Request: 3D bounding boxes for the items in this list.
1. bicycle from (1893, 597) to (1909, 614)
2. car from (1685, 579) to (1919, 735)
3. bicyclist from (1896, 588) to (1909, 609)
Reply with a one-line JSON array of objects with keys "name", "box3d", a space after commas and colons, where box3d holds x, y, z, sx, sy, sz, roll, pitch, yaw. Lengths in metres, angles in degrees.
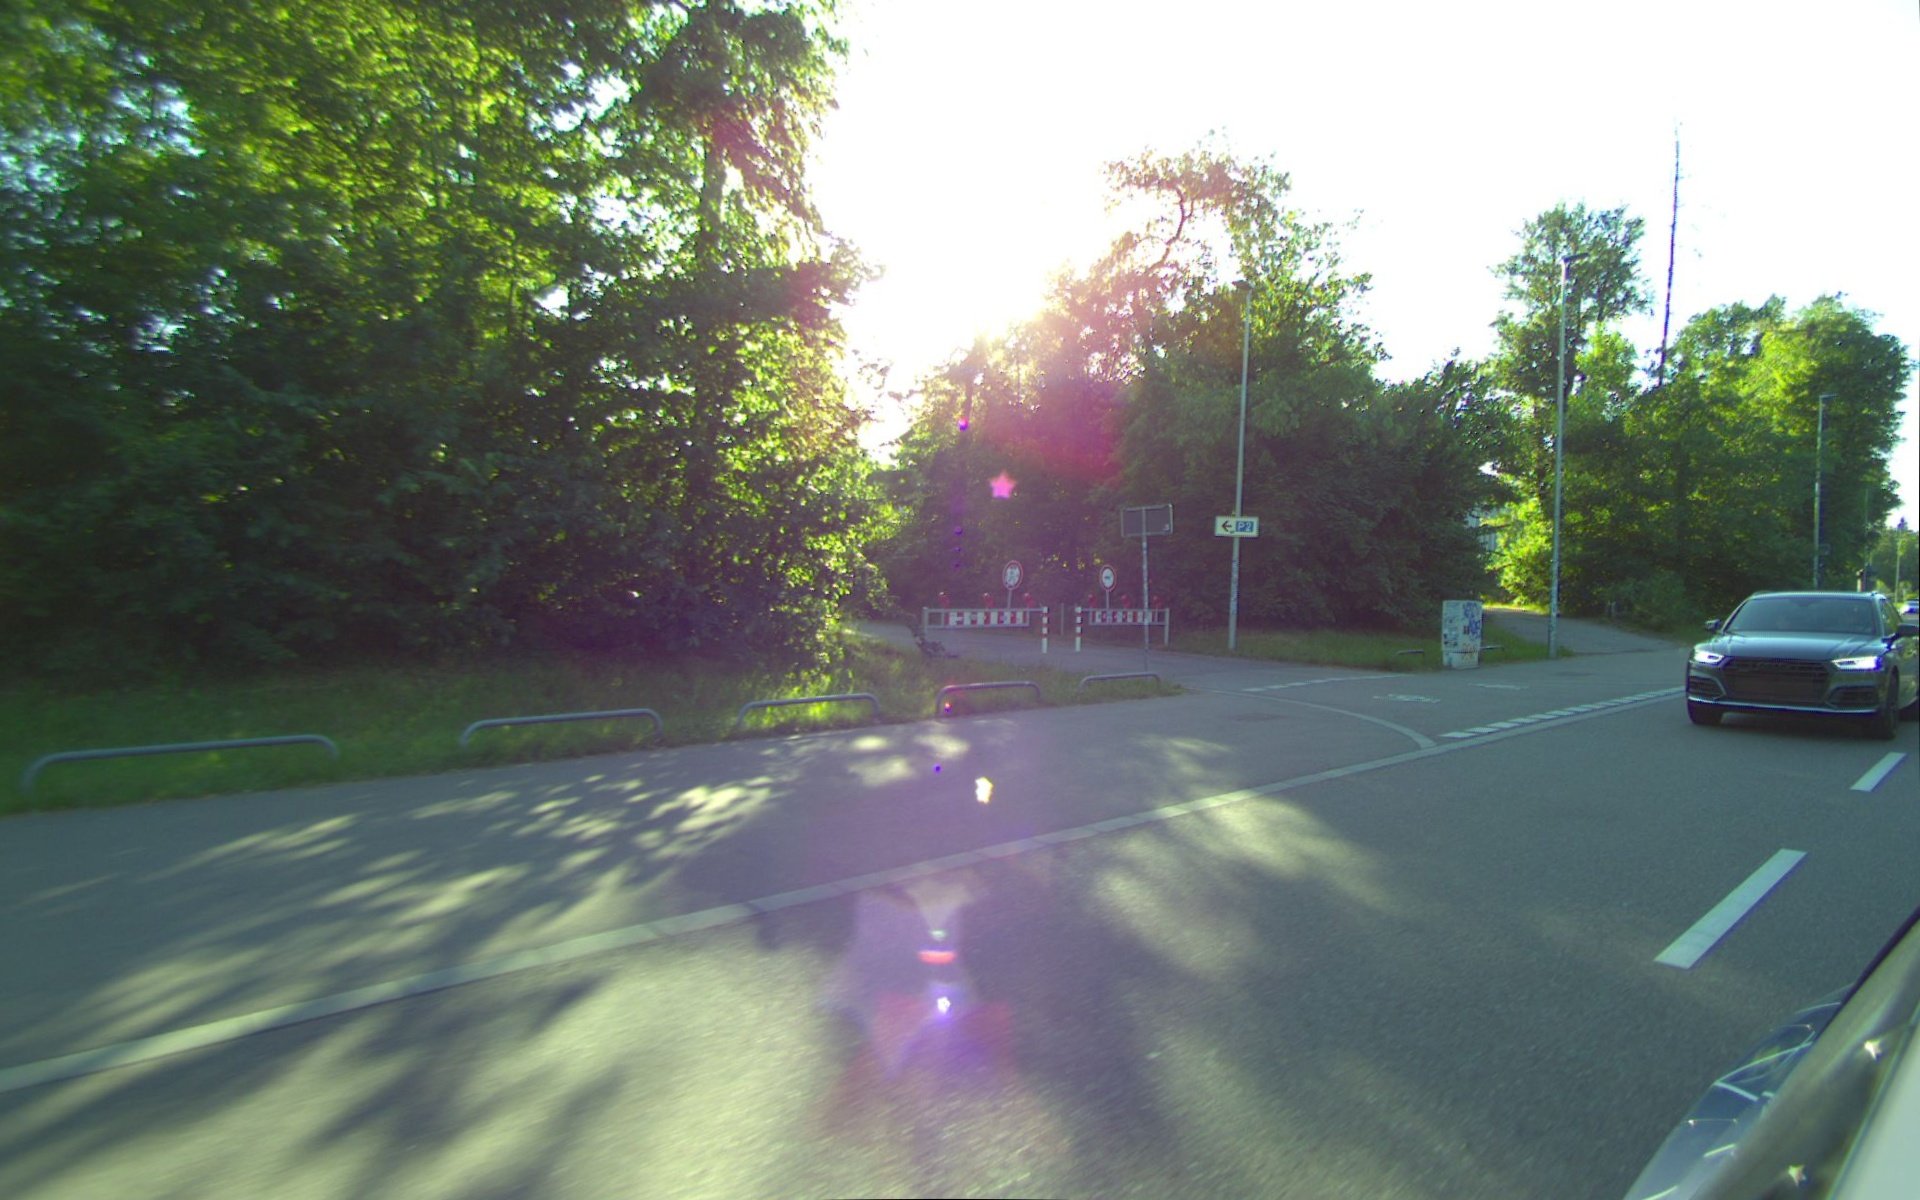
[{"name": "bicycle", "box3d": [65.762, 0.367, 70.710, 0.553, 1.151, 1.840, 3, 3, 36]}, {"name": "car", "box3d": [10.831, 0.571, 12.709, 4.466, 1.625, 1.896, 0, 1, -42]}, {"name": "bicyclist", "box3d": [65.832, -0.120, 70.710, 0.519, 1.487, 0.850, 1, 1, 36]}]
